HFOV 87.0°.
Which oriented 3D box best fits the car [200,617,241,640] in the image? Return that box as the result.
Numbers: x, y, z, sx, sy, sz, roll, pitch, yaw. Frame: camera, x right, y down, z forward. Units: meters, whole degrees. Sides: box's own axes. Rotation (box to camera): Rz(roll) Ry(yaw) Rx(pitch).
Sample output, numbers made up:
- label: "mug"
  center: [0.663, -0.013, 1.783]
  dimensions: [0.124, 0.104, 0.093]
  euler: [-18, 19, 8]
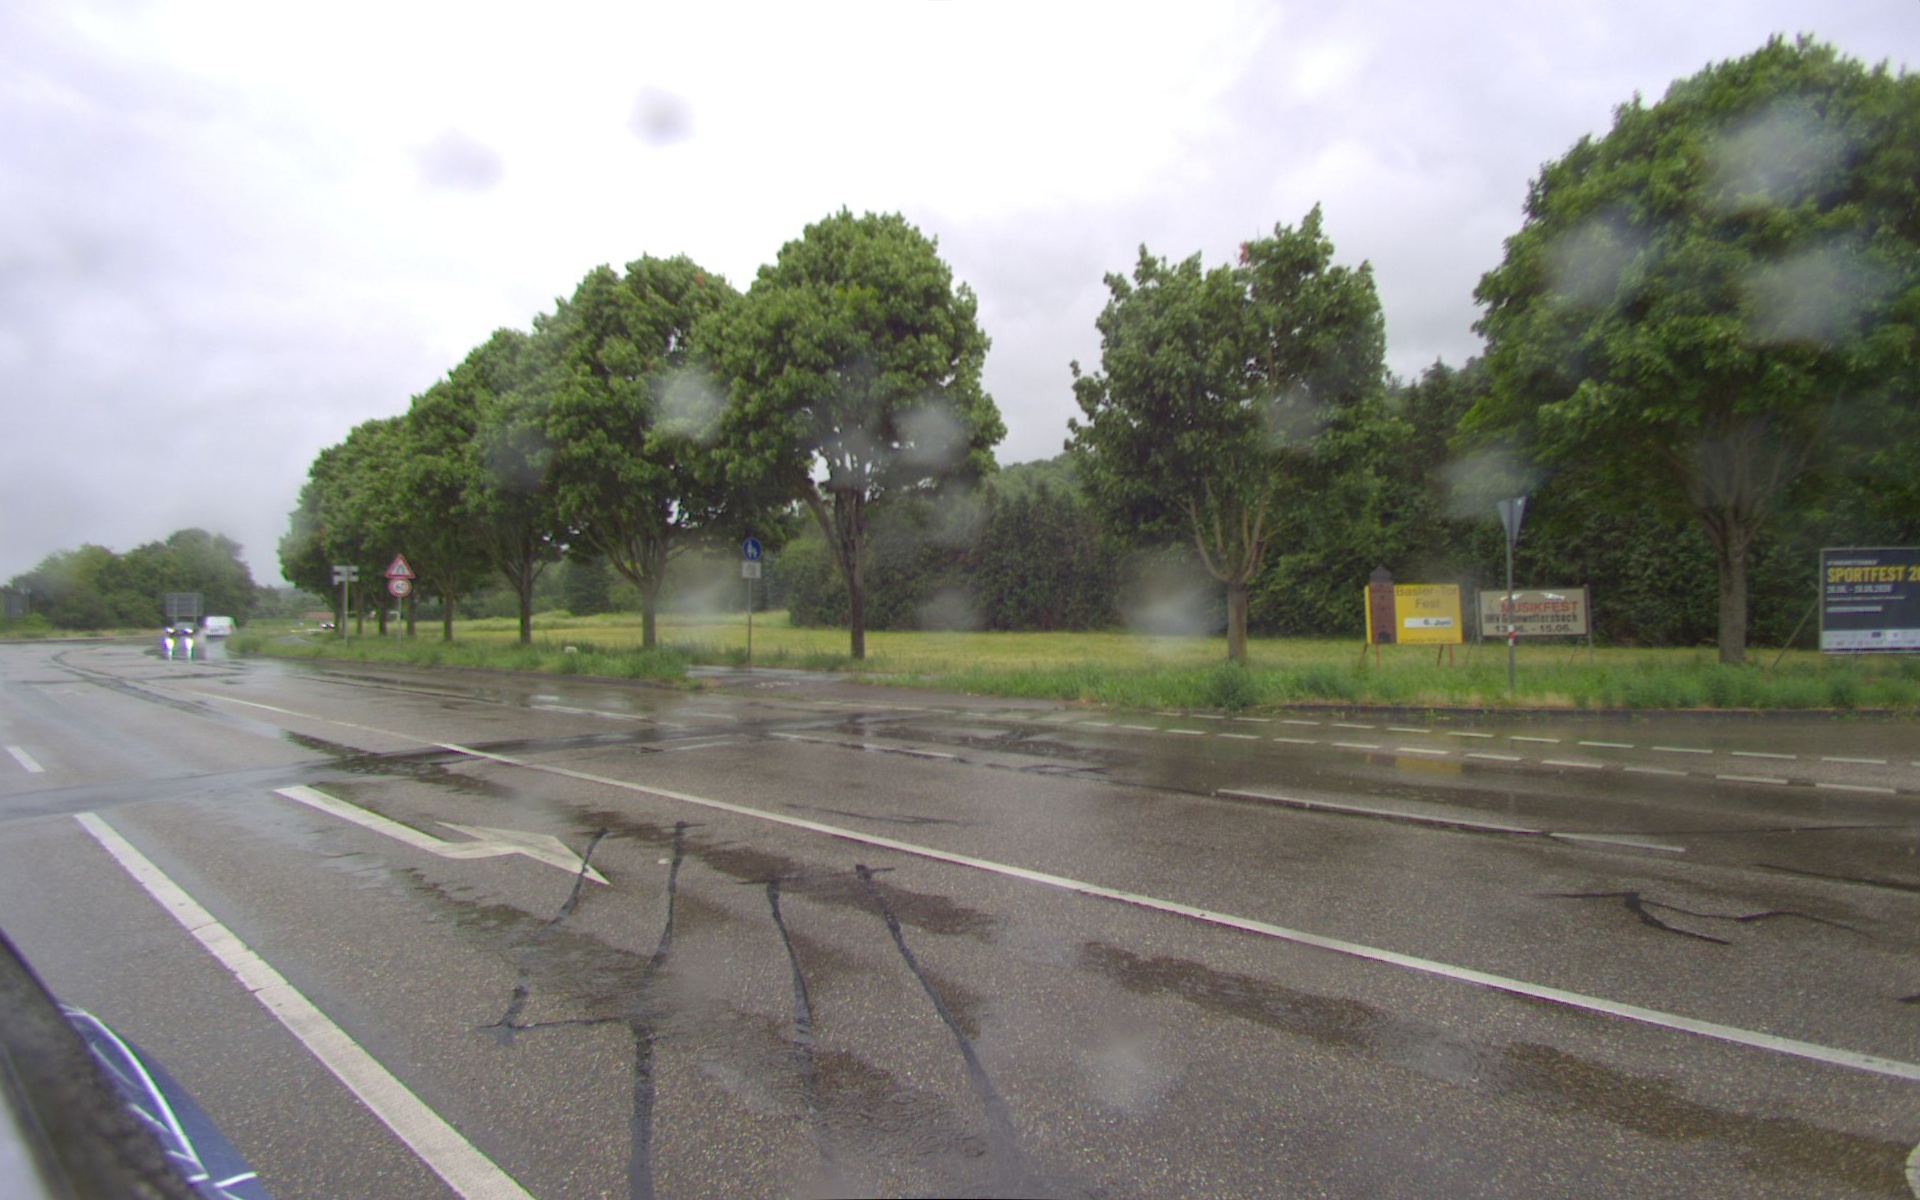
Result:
- label: "car"
  center: [-63.271, 2.401, 86.659]
  dimensions: [2.077, 1.907, 4.806]
  euler: [0, -1, -27]

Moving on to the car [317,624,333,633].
- label: "car"
  center: [-128.499, 5.685, 204.956]
  dimensions: [1.884, 1.701, 4.116]
  euler: [0, 0, -19]

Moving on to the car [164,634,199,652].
- label: "car"
  center: [-73.885, 4.060, 96.103]
  dimensions: [1.884, 1.597, 4.116]
  euler: [0, -1, -27]
